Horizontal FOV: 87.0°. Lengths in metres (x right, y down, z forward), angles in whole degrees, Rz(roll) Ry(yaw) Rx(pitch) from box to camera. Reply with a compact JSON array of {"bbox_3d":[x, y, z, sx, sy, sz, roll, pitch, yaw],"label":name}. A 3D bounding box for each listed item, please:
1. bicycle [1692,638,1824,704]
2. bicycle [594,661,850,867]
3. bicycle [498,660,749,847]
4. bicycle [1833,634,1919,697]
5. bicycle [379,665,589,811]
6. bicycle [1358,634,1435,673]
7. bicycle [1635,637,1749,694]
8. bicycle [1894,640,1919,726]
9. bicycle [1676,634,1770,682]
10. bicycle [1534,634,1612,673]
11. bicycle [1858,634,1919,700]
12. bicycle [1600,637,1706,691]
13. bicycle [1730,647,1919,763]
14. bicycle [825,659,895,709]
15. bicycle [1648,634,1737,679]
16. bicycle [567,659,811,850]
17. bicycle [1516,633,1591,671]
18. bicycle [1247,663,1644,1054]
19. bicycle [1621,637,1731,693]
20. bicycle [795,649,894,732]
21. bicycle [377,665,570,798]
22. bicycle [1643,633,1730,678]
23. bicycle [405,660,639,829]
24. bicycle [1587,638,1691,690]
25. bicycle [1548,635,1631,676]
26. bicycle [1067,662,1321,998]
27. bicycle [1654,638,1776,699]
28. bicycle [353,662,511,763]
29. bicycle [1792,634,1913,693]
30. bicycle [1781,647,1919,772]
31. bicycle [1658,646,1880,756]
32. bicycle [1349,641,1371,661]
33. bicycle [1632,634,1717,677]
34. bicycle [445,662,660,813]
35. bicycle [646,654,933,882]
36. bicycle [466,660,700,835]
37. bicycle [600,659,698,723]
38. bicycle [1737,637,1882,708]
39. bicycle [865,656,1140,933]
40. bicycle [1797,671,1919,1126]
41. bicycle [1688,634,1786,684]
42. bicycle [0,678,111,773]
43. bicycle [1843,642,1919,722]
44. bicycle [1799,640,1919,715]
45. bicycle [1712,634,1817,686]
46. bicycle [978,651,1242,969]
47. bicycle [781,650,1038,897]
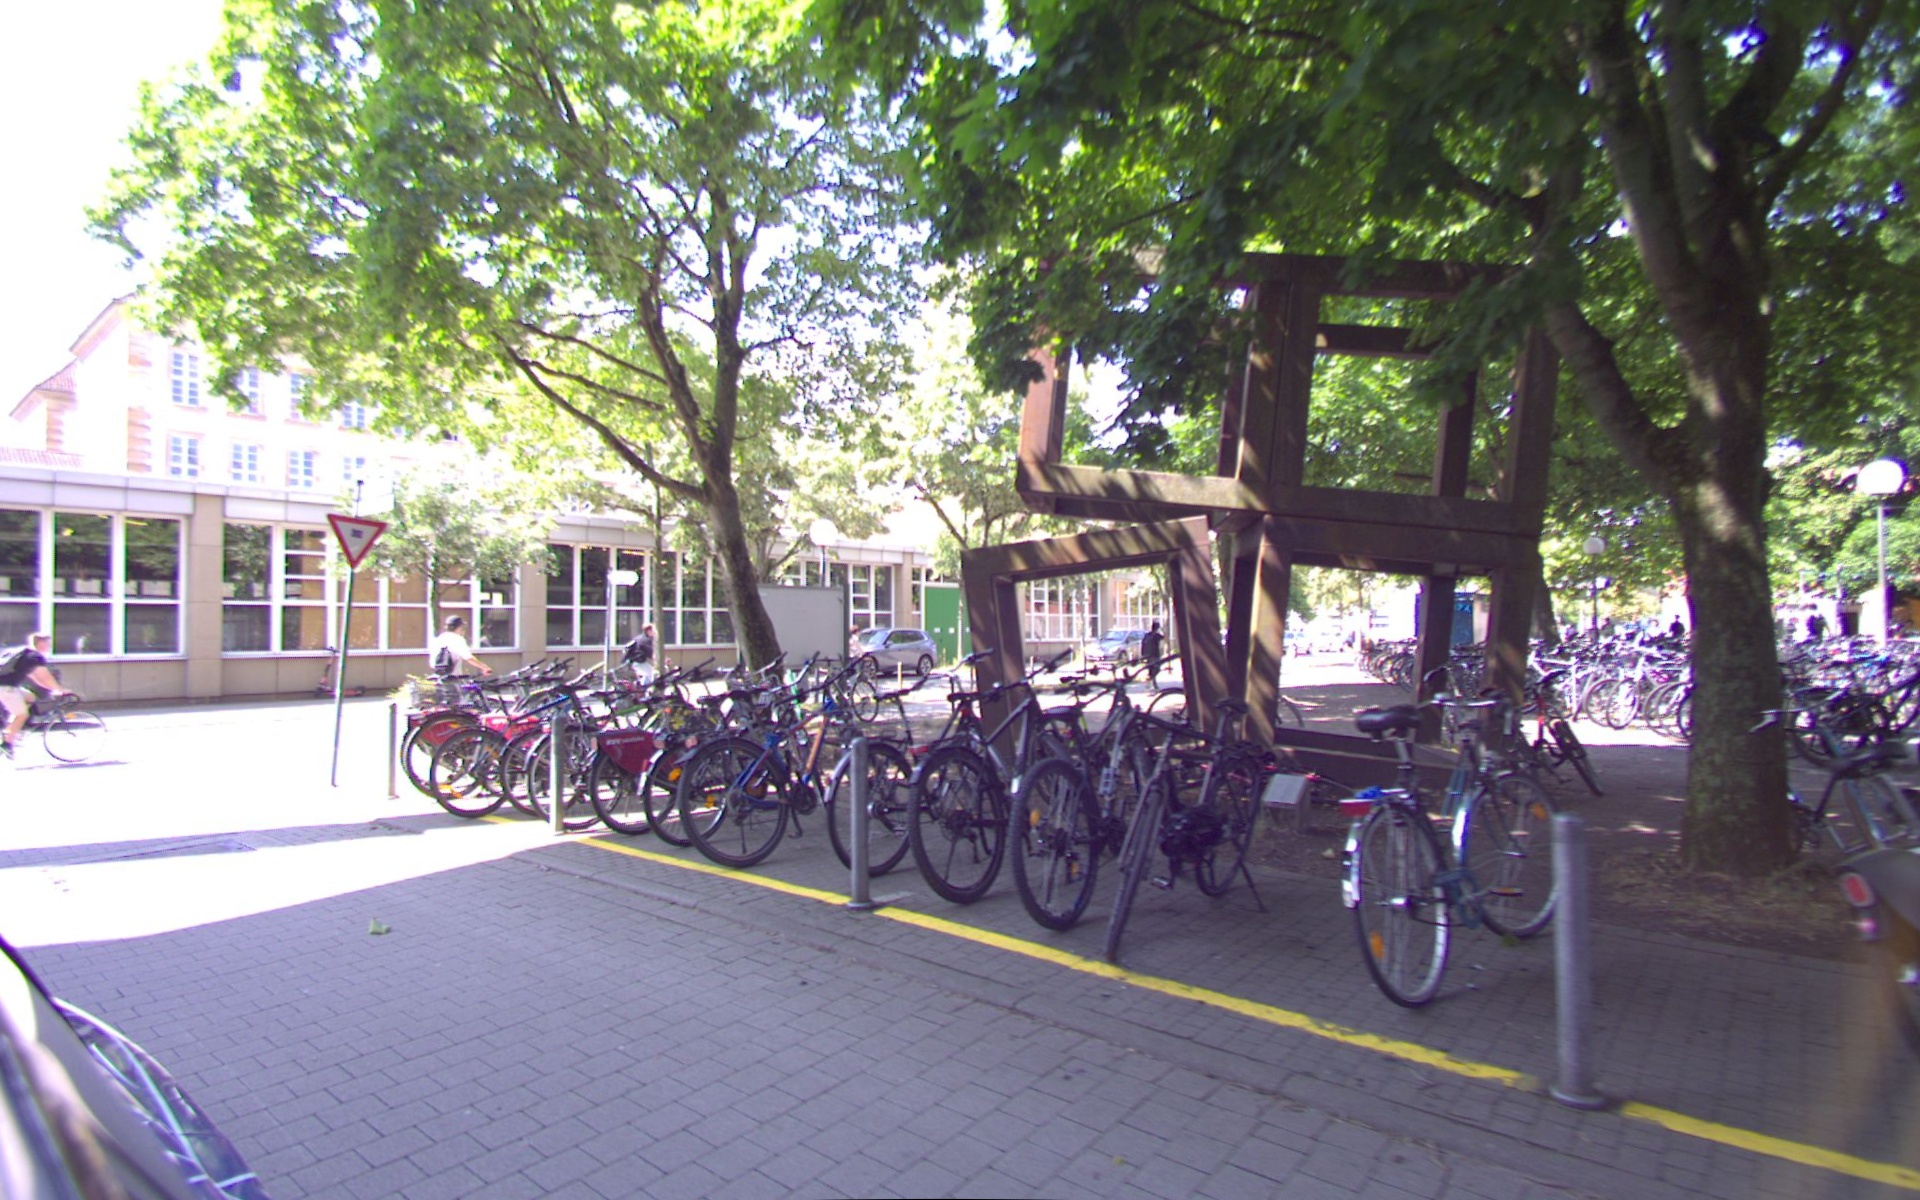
[{"bbox_3d":[13.791,1.222,17.516,1.834,1.092,0.473,-1,-1,3],"label":"bicycle"},{"bbox_3d":[-1.506,0.995,6.620,1.606,1.116,0.497,0,-1,-45],"label":"bicycle"},{"bbox_3d":[-2.387,1.036,7.306,0.630,1.116,1.606,-2,-1,45],"label":"bicycle"},{"bbox_3d":[16.739,1.160,18.088,1.682,1.092,0.472,-1,-1,12],"label":"bicycle"},{"bbox_3d":[-4.148,1.158,8.914,0.496,1.116,1.608,-5,-4,40],"label":"bicycle"},{"bbox_3d":[12.641,1.548,29.368,2.016,1.116,0.499,-1,-1,22],"label":"bicycle"},{"bbox_3d":[14.492,1.295,20.065,1.834,1.092,0.473,-1,-1,3],"label":"bicycle"},{"bbox_3d":[13.349,1.072,13.168,1.834,1.092,0.473,-1,-1,3],"label":"bicycle"},{"bbox_3d":[17.828,1.344,23.667,1.682,1.092,0.472,-1,-1,12],"label":"bicycle"},{"bbox_3d":[17.449,1.530,28.840,1.838,1.092,0.473,-1,-1,10],"label":"bicycle"},{"bbox_3d":[16.378,1.126,17.167,1.682,1.092,0.472,-1,-1,12],"label":"bicycle"},{"bbox_3d":[14.553,1.343,21.272,1.834,1.092,0.473,-1,-1,3],"label":"bicycle"},{"bbox_3d":[8.891,1.046,10.220,1.756,1.116,0.502,-1,-1,3],"label":"bicycle"},{"bbox_3d":[-2.396,2.008,24.443,0.639,1.116,1.797,0,-2,36],"label":"bicycle"},{"bbox_3d":[17.917,1.380,24.767,1.682,1.092,0.472,-1,-1,12],"label":"bicycle"},{"bbox_3d":[-1.846,1.007,7.066,1.606,1.116,0.506,0,-1,-45],"label":"bicycle"},{"bbox_3d":[17.565,1.546,29.983,1.848,1.092,0.470,-1,-1,24],"label":"bicycle"},{"bbox_3d":[1.942,0.848,3.947,1.699,1.116,0.720,0,-1,-39],"label":"bicycle"},{"bbox_3d":[14.628,1.328,20.711,1.834,1.092,0.473,-1,-1,3],"label":"bicycle"},{"bbox_3d":[-1.720,1.333,15.327,0.392,1.116,1.818,-1,-1,34],"label":"bicycle"},{"bbox_3d":[-4.632,1.214,9.726,0.496,1.116,1.608,-5,-4,40],"label":"bicycle"},{"bbox_3d":[18.104,1.384,25.246,1.682,1.092,0.472,-1,-1,12],"label":"bicycle"},{"bbox_3d":[-3.373,1.066,7.895,1.606,1.116,0.497,0,-1,-45],"label":"bicycle"},{"bbox_3d":[14.657,1.381,21.868,1.834,1.092,0.473,-1,-1,3],"label":"bicycle"},{"bbox_3d":[17.184,1.517,27.657,1.838,1.092,0.473,-1,-1,10],"label":"bicycle"},{"bbox_3d":[1.086,0.869,4.420,0.496,1.116,1.610,-1,-1,35],"label":"bicycle"},{"bbox_3d":[14.009,1.272,18.802,1.834,1.092,0.473,-1,-1,3],"label":"bicycle"},{"bbox_3d":[-6.995,1.455,13.533,0.798,1.181,1.875,-2,-2,17],"label":"bicycle"},{"bbox_3d":[16.999,1.199,19.300,1.682,1.092,0.472,-1,-1,12],"label":"bicycle"},{"bbox_3d":[8.835,1.009,9.499,1.756,1.116,0.502,-1,-1,3],"label":"bicycle"},{"bbox_3d":[8.603,1.068,10.808,1.881,1.116,0.502,-1,-1,3],"label":"bicycle"},{"bbox_3d":[22.540,2.873,56.992,0.668,1.116,2.048,-3,-4,34],"label":"bicycle"},{"bbox_3d":[18.216,1.415,25.829,1.682,1.092,0.472,-1,-1,12],"label":"bicycle"},{"bbox_3d":[-3.424,1.114,8.569,1.603,1.116,0.498,0,-4,-38],"label":"bicycle"},{"bbox_3d":[-0.988,0.924,6.120,1.606,1.116,0.691,0,-1,-45],"label":"bicycle"},{"bbox_3d":[-2.814,1.054,7.673,1.606,1.116,0.497,0,-1,-45],"label":"bicycle"},{"bbox_3d":[-6.254,1.807,20.432,0.674,1.149,1.863,-1,-1,37],"label":"bicycle"},{"bbox_3d":[13.674,1.162,16.312,1.834,1.092,0.473,-1,-1,3],"label":"bicycle"},{"bbox_3d":[0.281,0.886,5.218,0.643,1.116,1.610,-1,-1,35],"label":"bicycle"},{"bbox_3d":[3.174,0.811,3.077,1.603,1.116,0.564,0,-1,-36],"label":"bicycle"},{"bbox_3d":[17.416,1.310,22.703,1.682,1.092,0.472,-1,-1,12],"label":"bicycle"},{"bbox_3d":[-12.137,1.606,12.997,0.605,1.116,1.805,0,-1,42],"label":"bicycle"},{"bbox_3d":[13.568,1.137,14.210,1.834,1.092,0.473,-1,-1,3],"label":"bicycle"},{"bbox_3d":[13.753,1.155,15.186,1.834,1.092,0.473,-1,-1,3],"label":"bicycle"},{"bbox_3d":[17.181,1.276,21.637,1.682,1.092,0.472,-1,-1,12],"label":"bicycle"},{"bbox_3d":[0.792,0.867,4.840,0.496,1.170,1.764,-1,-1,35],"label":"bicycle"},{"bbox_3d":[-0.234,0.897,5.798,0.497,1.159,1.608,-2,-1,41],"label":"bicycle"}]
